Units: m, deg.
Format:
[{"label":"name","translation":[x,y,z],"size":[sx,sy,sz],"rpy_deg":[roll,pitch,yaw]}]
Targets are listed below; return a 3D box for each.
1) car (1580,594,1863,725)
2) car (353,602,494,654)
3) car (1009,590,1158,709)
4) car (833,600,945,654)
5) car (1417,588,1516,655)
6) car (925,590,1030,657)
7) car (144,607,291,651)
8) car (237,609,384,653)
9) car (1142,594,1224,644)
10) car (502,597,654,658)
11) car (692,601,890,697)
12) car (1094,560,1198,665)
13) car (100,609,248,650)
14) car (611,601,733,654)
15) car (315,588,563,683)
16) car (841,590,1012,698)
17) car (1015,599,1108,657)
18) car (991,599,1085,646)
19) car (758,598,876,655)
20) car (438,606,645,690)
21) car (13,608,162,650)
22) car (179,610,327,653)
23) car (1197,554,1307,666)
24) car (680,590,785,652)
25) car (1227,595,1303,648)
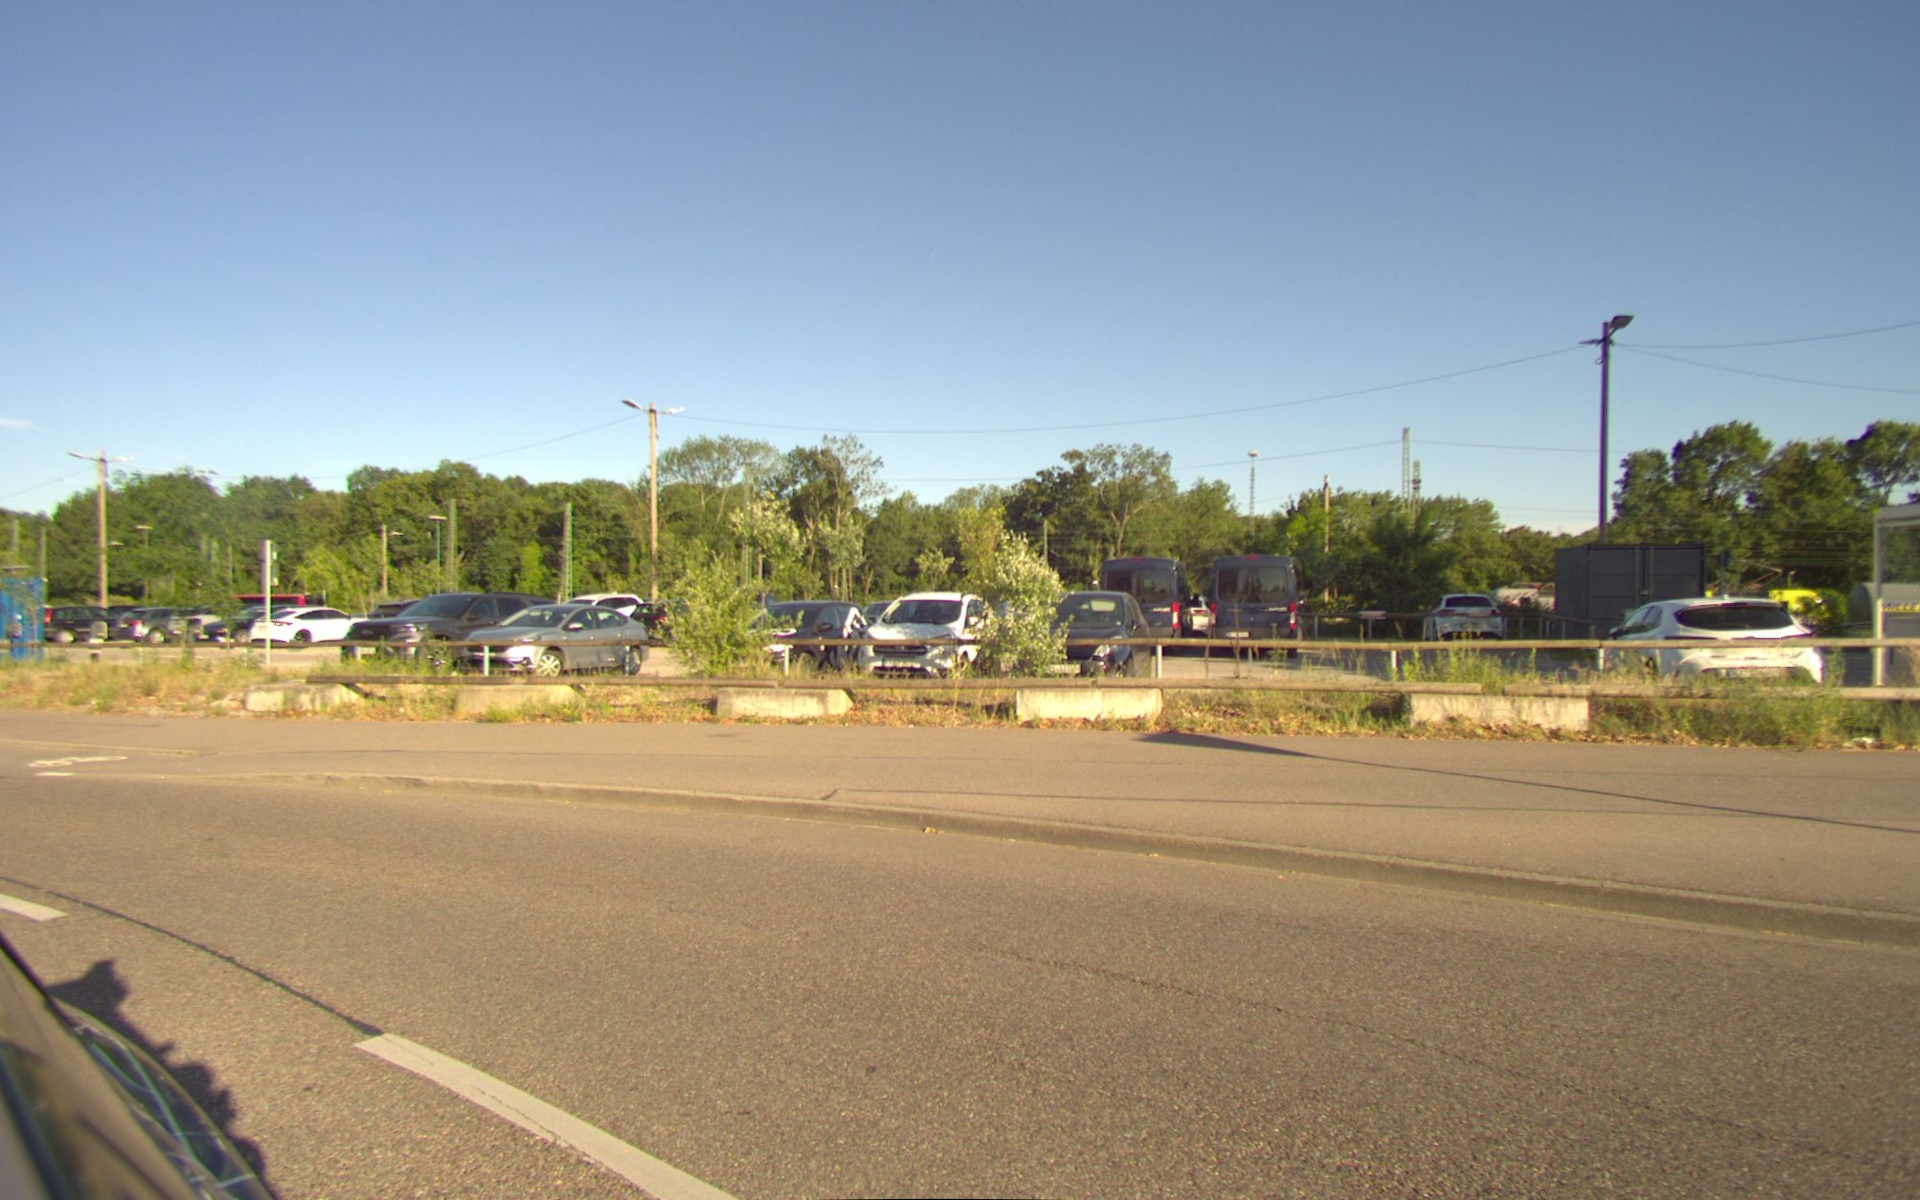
[{"label":"car","translation":[10.300,0.701,14.120],"size":[1.876,1.522,4.247],"rpy_deg":[-1,0,19]},{"label":"car","translation":[-18.779,0.939,35.638],"size":[1.970,1.601,4.179],"rpy_deg":[-1,1,17]},{"label":"car","translation":[2.138,0.697,16.472],"size":[1.855,1.667,4.125],"rpy_deg":[-1,0,15]},{"label":"car","translation":[-1.978,0.751,29.483],"size":[1.747,1.442,3.972],"rpy_deg":[-1,0,21]},{"label":"car","translation":[14.699,0.569,29.591],"size":[1.971,1.822,4.177],"rpy_deg":[-1,0,18]},{"label":"car","translation":[0.590,0.616,28.778],"size":[1.814,1.592,3.976],"rpy_deg":[-1,3,19]},{"label":"car","translation":[-28.982,1.108,39.700],"size":[1.854,1.477,4.422],"rpy_deg":[-1,1,17]},{"label":"car","translation":[-24.041,1.123,37.666],"size":[1.854,1.388,4.422],"rpy_deg":[-1,1,17]},{"label":"car","translation":[7.206,0.568,32.413],"size":[1.972,1.510,4.174],"rpy_deg":[-1,0,21]},{"label":"car","translation":[-12.334,0.837,33.069],"size":[2.026,1.707,4.668],"rpy_deg":[-1,1,22]},{"label":"car","translation":[-2.913,0.803,18.352],"size":[1.842,1.527,3.973],"rpy_deg":[-1,0,20]},{"label":"car","translation":[4.961,0.303,26.515],"size":[2.111,2.486,4.456],"rpy_deg":[-1,0,18]},{"label":"car","translation":[-31.453,1.150,40.671],"size":[1.854,1.439,4.422],"rpy_deg":[-1,1,17]},{"label":"car","translation":[-9.219,0.833,32.696],"size":[1.877,1.498,3.918],"rpy_deg":[-1,1,19]},{"label":"car","translation":[-10.728,0.754,21.286],"size":[2.052,1.757,4.510],"rpy_deg":[-1,-2,18]},{"label":"car","translation":[-0.434,0.687,17.404],"size":[1.869,1.623,4.038],"rpy_deg":[-1,0,15]},{"label":"car","translation":[2.978,0.761,28.939],"size":[1.820,1.519,3.728],"rpy_deg":[-1,0,19]},{"label":"car","translation":[2.713,0.725,34.097],"size":[2.086,1.430,4.174],"rpy_deg":[-1,0,21]},{"label":"car","translation":[-4.281,0.776,30.902],"size":[1.984,1.606,3.975],"rpy_deg":[-1,0,19]},{"label":"car","translation":[-8.160,0.882,20.129],"size":[1.822,1.464,3.906],"rpy_deg":[-1,0,15]},{"label":"car","translation":[-36.530,1.190,42.528],"size":[1.854,1.525,4.422],"rpy_deg":[-1,1,17]},{"label":"car","translation":[-26.691,1.144,38.388],"size":[1.854,1.454,4.421],"rpy_deg":[-1,0,17]},{"label":"car","translation":[7.503,0.230,25.857],"size":[2.382,2.536,5.480],"rpy_deg":[-1,0,17]},{"label":"car","translation":[-7.035,0.616,31.693],"size":[1.754,1.746,3.764],"rpy_deg":[-1,1,13]},{"label":"car","translation":[9.510,0.619,31.392],"size":[1.972,1.510,4.174],"rpy_deg":[-1,0,21]}]
